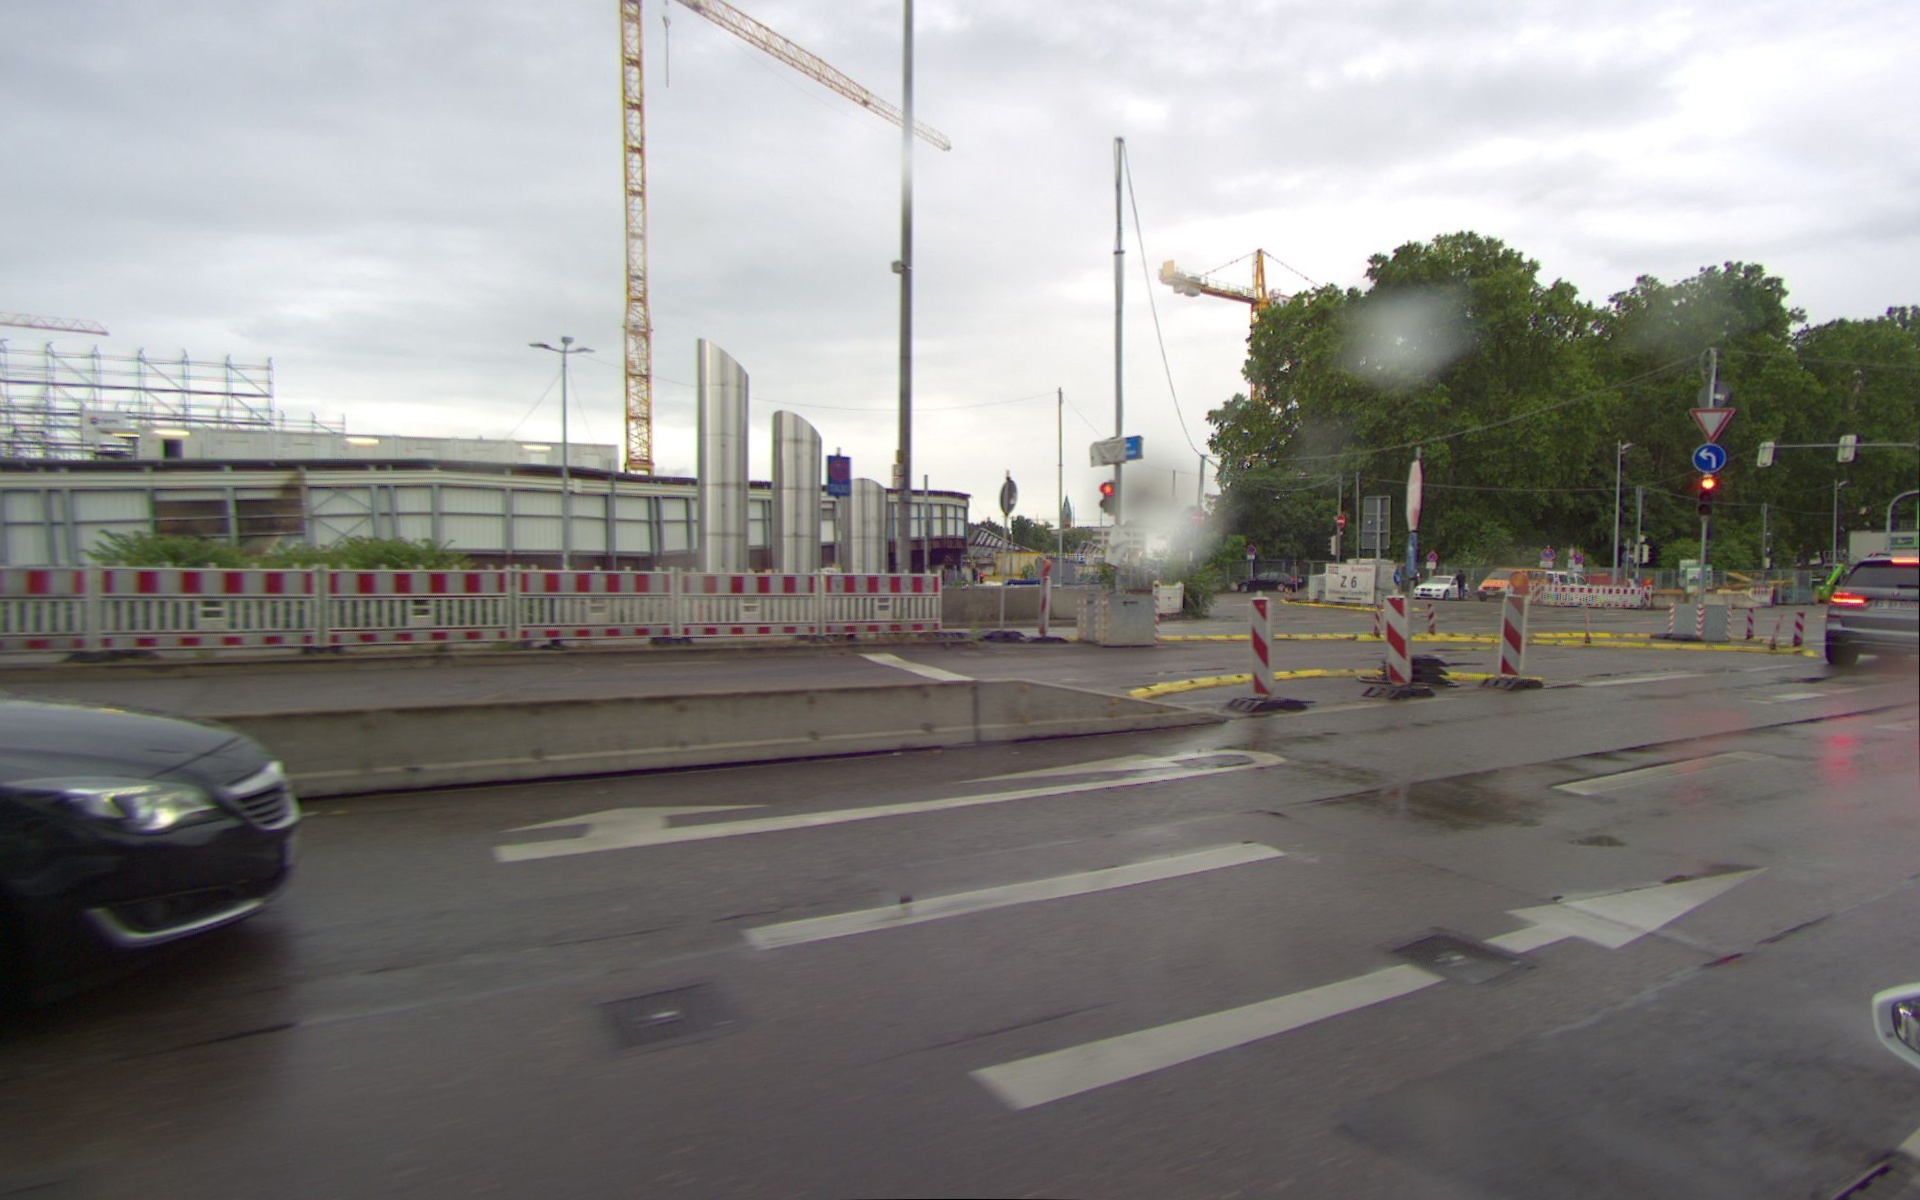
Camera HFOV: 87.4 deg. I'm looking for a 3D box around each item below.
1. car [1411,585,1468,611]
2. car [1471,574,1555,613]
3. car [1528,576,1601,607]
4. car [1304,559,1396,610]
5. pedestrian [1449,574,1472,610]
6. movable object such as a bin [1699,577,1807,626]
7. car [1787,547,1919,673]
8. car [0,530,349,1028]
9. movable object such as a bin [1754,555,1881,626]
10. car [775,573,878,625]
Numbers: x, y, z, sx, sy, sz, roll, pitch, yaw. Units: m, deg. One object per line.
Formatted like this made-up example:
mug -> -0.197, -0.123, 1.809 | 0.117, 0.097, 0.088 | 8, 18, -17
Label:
car -> 27.686, -0.095, 57.965 | 3.806, 1.434, 1.741 | 1, 0, -43
car -> 31.706, -0.342, 57.519 | 5.526, 2.128, 1.981 | 1, -1, -35
car -> 36.586, -0.495, 60.788 | 4.744, 1.785, 1.835 | 1, 0, -32
car -> 24.682, -0.935, 63.417 | 6.102, 3.107, 2.260 | 1, 0, -33
pedestrian -> 28.249, -0.443, 56.734 | 0.732, 2.041, 0.913 | 0, 1, -37
movable object such as a bin -> 54.754, 0.110, 69.344 | 6.315, 3.170, 3.912 | 1, 0, -31
car -> 16.195, 0.151, 16.916 | 5.022, 1.888, 2.195 | 1, 2, -35
car -> -4.712, 0.485, 2.965 | 4.858, 1.483, 1.800 | 0, 2, -29
movable object such as a bin -> 62.693, -0.610, 73.439 | 8.264, 4.867, 4.725 | 1, 0, -31
car -> -5.461, -0.071, 41.826 | 1.961, 2.041, 5.023 | 1, 1, 23
